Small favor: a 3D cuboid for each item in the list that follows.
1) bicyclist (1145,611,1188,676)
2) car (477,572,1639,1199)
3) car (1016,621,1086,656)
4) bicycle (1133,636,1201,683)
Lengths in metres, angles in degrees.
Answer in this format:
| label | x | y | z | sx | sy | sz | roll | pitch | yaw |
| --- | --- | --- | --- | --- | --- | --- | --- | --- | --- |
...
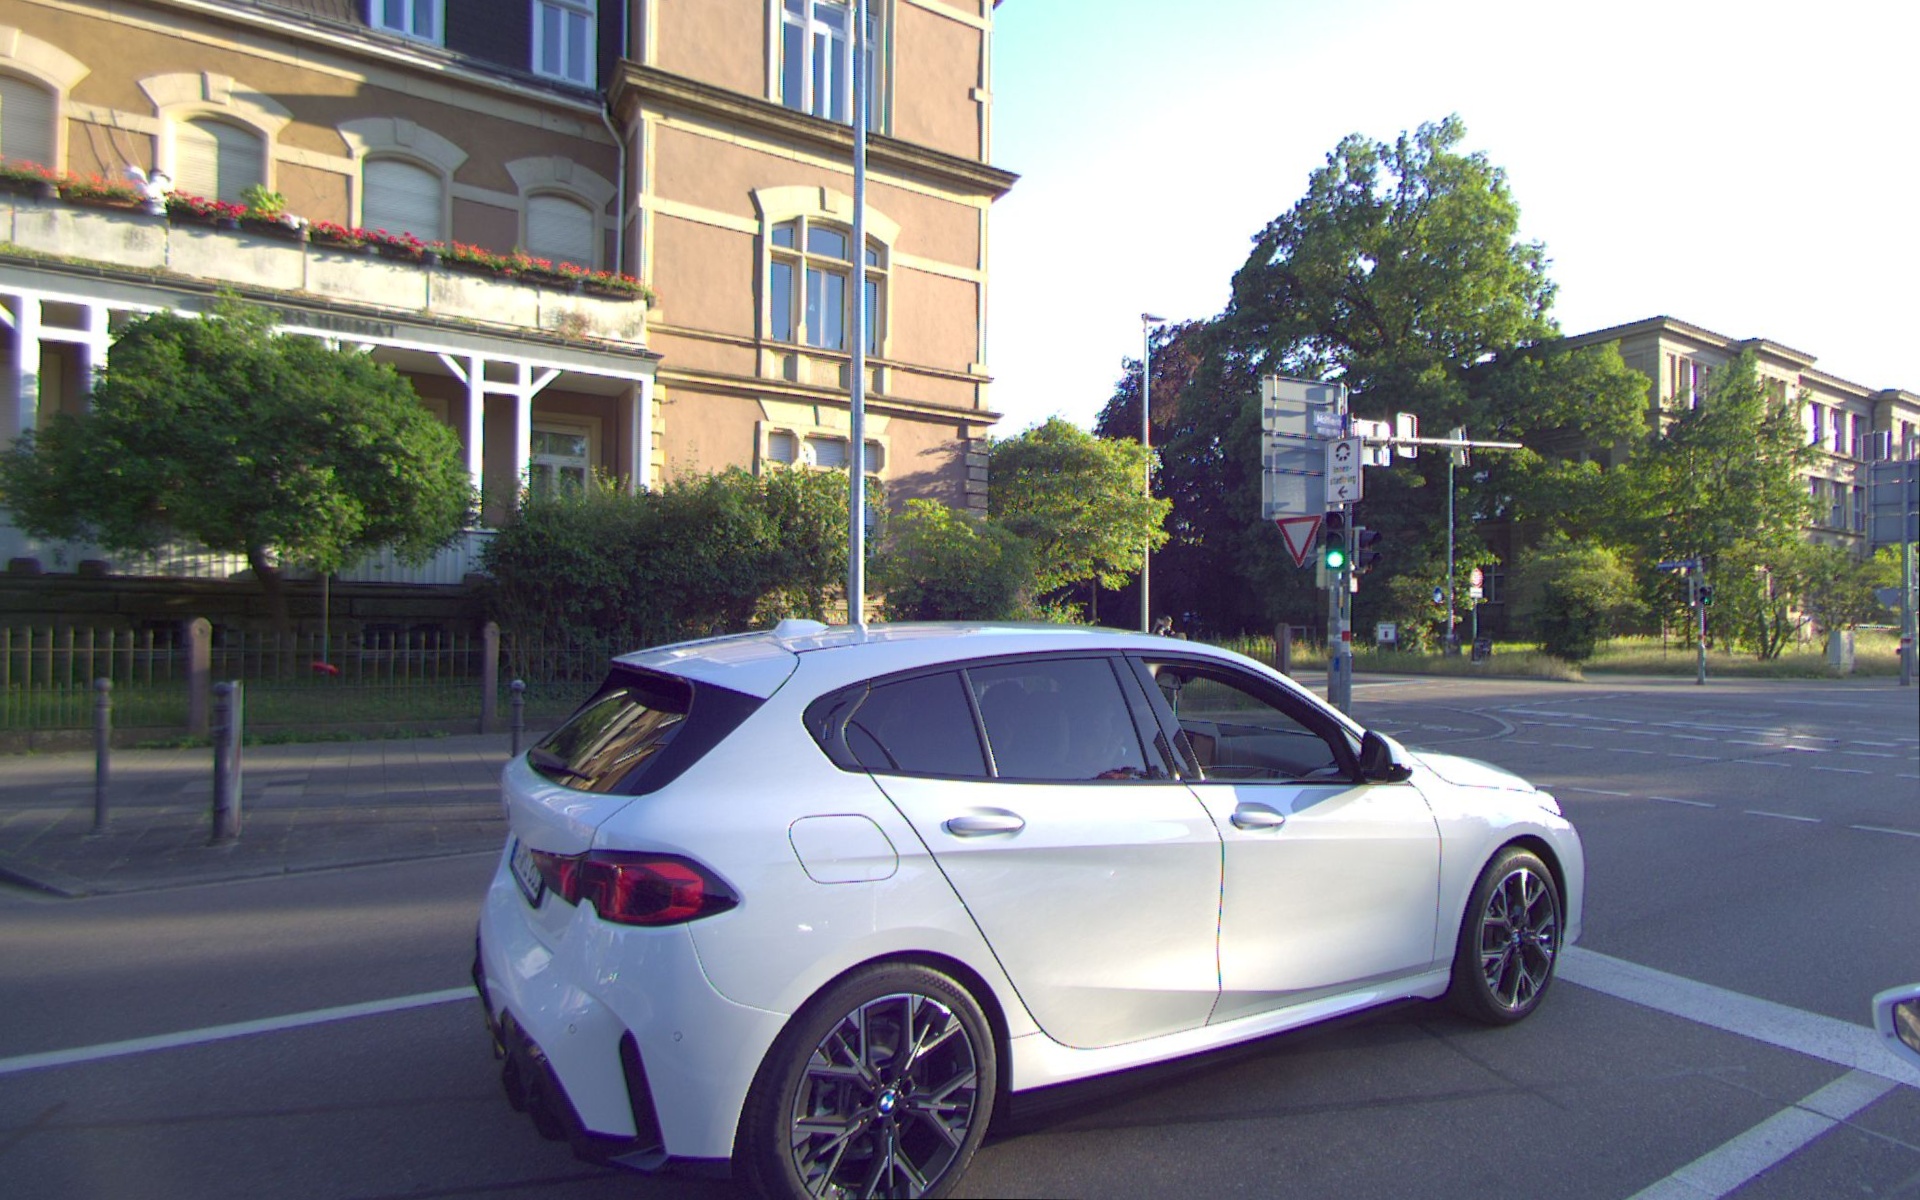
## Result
| label | x | y | z | sx | sy | sz | roll | pitch | yaw |
| --- | --- | --- | --- | --- | --- | --- | --- | --- | --- |
| bicyclist | 5.496 | 1.150 | 26.783 | 0.646 | 1.654 | 0.907 | 2 | 0 | -31 |
| car | 0.567 | 0.754 | 3.768 | 4.141 | 1.485 | 1.743 | 2 | -2 | -31 |
| car | 4.972 | 2.100 | 55.399 | 1.841 | 1.870 | 4.087 | 1 | -2 | -31 |
| bicycle | 5.497 | 1.563 | 26.760 | 0.653 | 1.104 | 1.887 | 2 | 0 | -30 |
